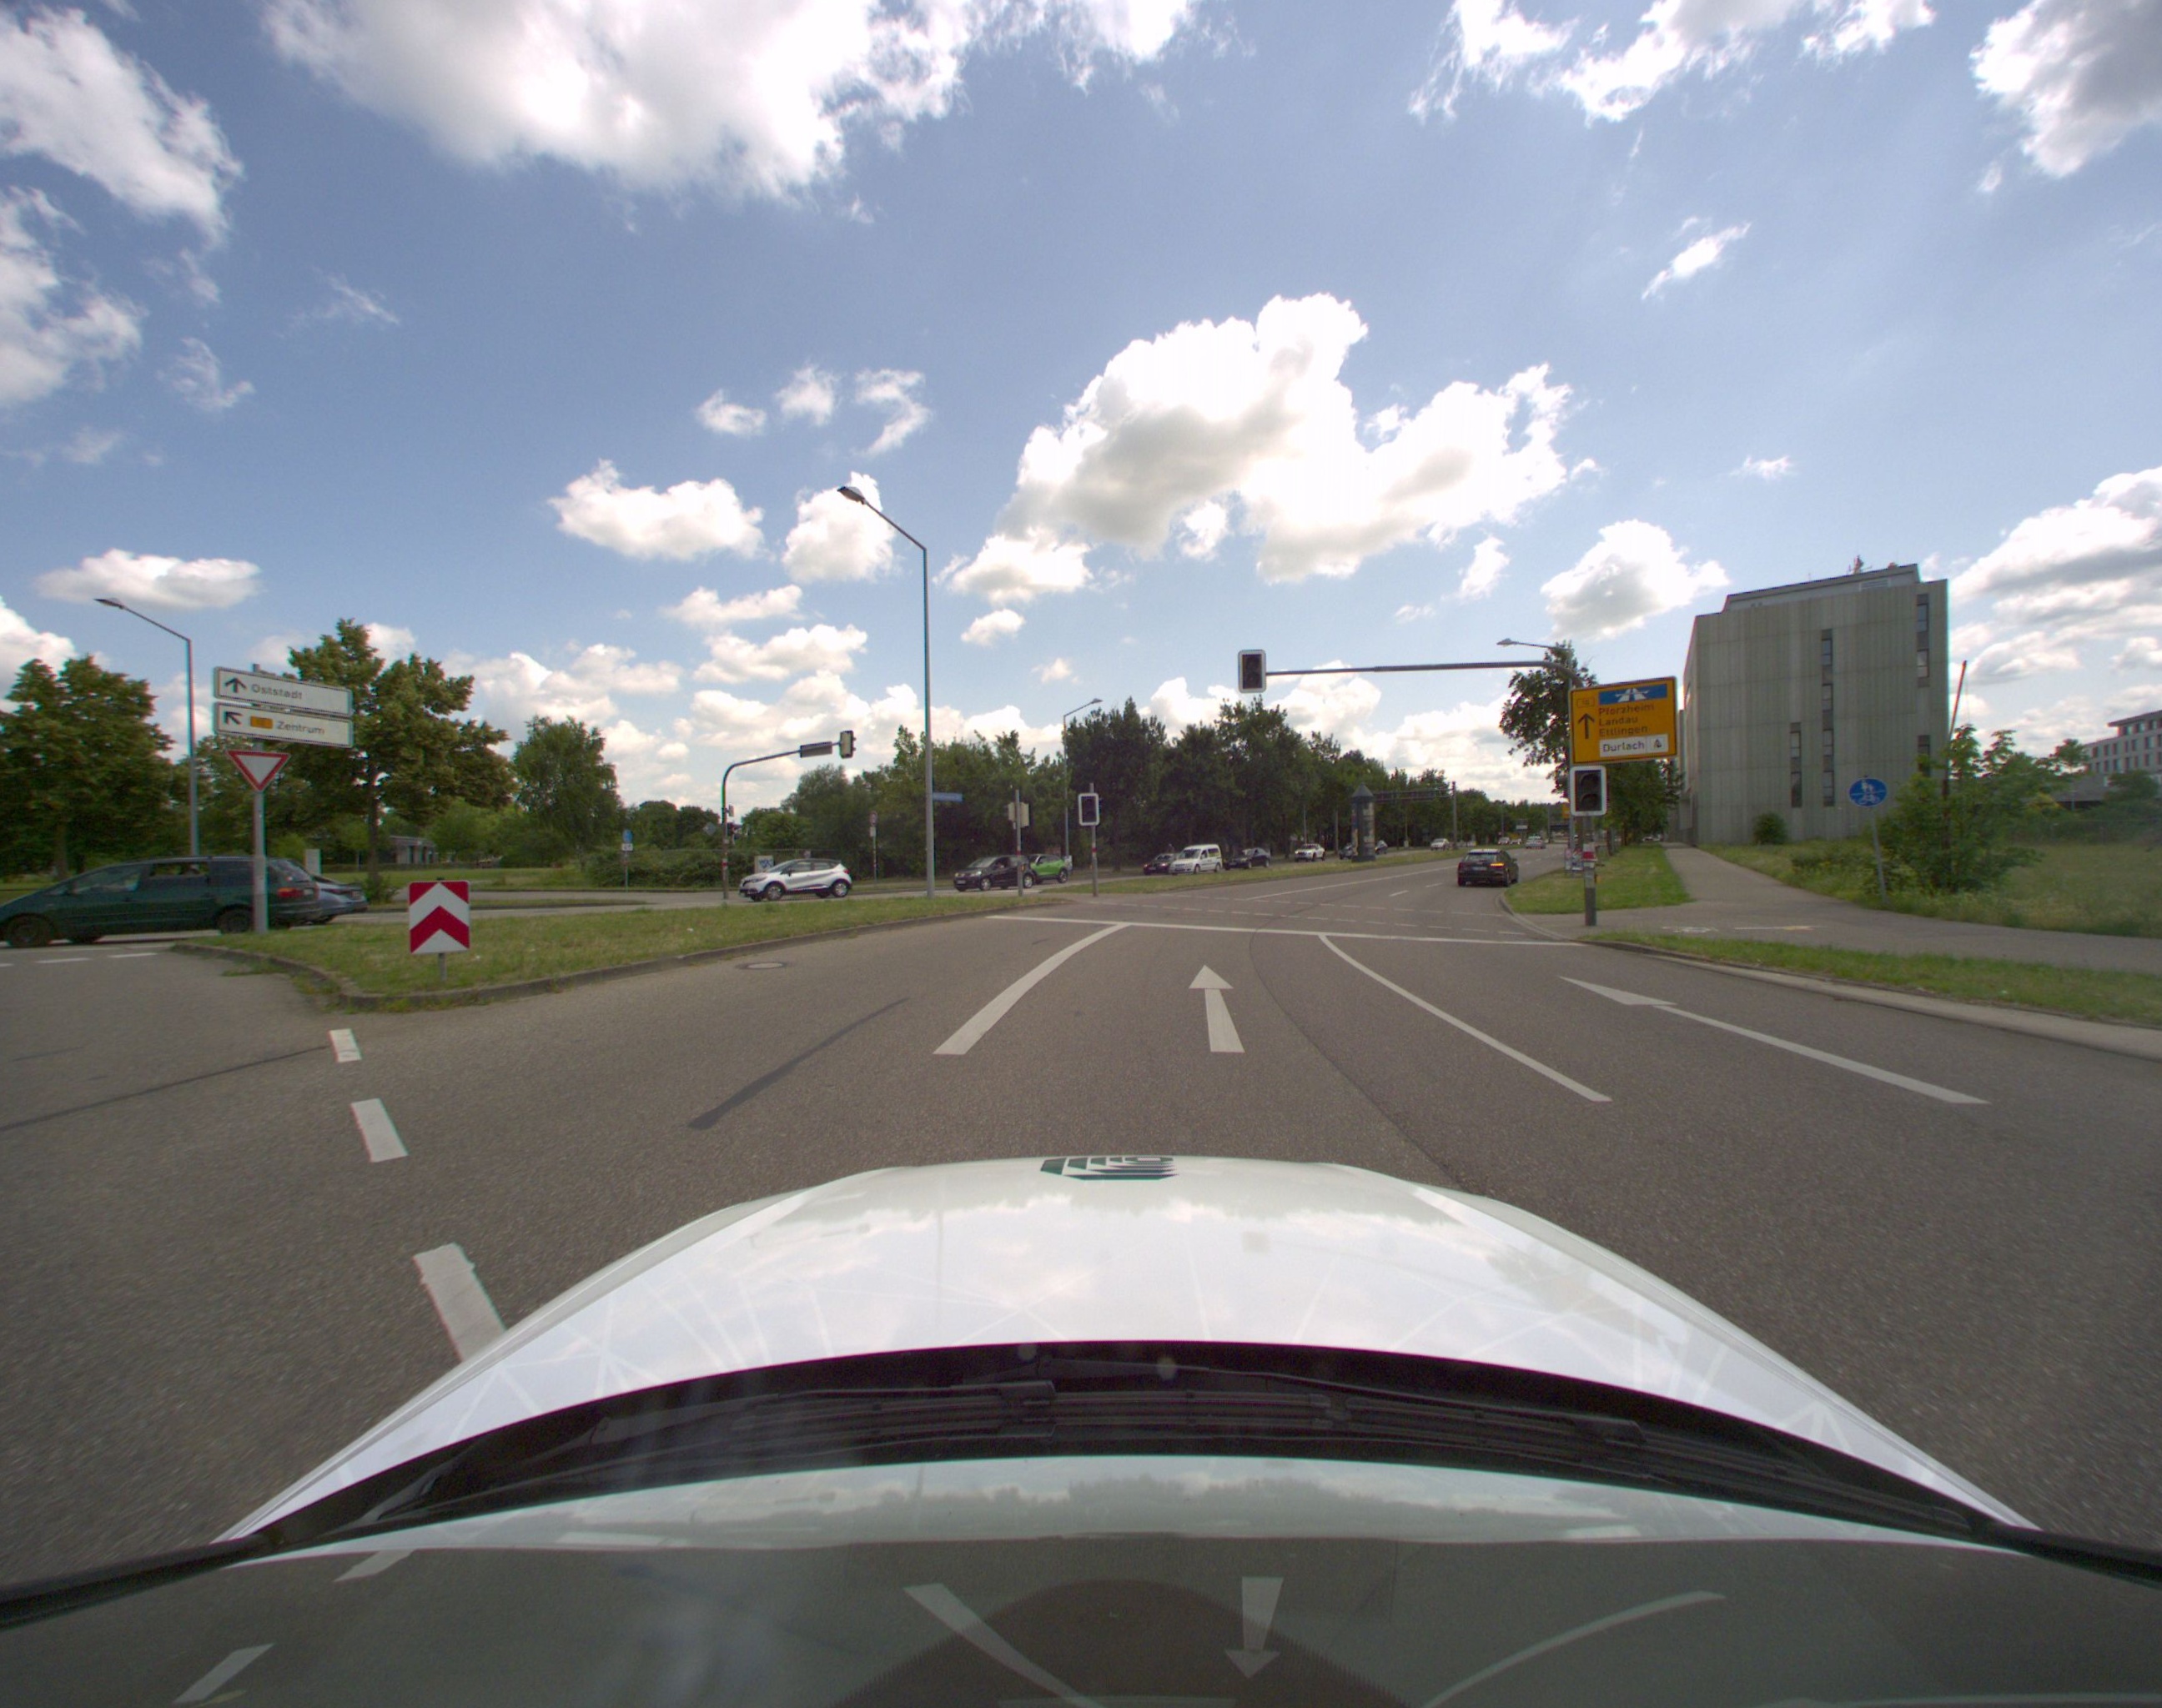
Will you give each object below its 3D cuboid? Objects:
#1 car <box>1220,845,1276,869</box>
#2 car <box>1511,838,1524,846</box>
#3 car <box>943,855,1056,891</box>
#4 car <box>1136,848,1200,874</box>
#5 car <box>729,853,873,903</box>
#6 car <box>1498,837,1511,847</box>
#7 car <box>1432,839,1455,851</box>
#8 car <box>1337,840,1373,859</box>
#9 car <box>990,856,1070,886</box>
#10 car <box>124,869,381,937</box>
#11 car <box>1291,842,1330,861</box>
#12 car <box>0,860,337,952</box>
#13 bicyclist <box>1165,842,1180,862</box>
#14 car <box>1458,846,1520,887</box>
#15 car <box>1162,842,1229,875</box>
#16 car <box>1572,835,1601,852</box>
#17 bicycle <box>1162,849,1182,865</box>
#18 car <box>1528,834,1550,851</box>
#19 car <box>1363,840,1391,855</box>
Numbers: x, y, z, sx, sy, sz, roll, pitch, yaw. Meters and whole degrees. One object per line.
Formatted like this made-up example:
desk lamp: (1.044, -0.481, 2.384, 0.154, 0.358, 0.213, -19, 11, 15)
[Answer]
car: (11.344, 0.162, 55.089, 1.820, 1.480, 4.784, -3, -1, 36)
car: (90.213, -2.526, 168.271, 1.724, 1.545, 4.603, -3, 0, 36)
car: (-3.373, 0.781, 34.488, 1.820, 1.310, 4.818, -3, -1, 40)
car: (5.580, 0.436, 51.871, 1.820, 1.443, 4.447, -3, -1, 40)
car: (-10.653, 0.860, 31.233, 4.815, 1.686, 1.975, -2, 1, -44)
car: (78.670, -2.238, 151.250, 1.724, 1.569, 4.303, -3, 0, 34)
car: (45.669, -1.107, 102.630, 1.746, 1.440, 4.337, -2, 0, 36)
car: (25.152, -0.427, 74.652, 1.705, 1.591, 5.045, -2, 0, 35)
car: (-2.451, 0.818, 40.277, 1.600, 1.348, 4.197, -3, -1, 36)
car: (-20.875, 1.174, 20.814, 4.204, 1.423, 1.893, -1, 1, -30)
car: (20.535, -0.227, 72.743, 1.891, 1.540, 4.396, -2, 0, 35)
car: (-18.722, 0.974, 16.813, 4.606, 1.592, 1.896, -1, 0, -30)
bicyclist: (7.372, -0.188, 65.708, 0.822, 1.564, 0.889, 2, 2, 35)
car: (16.169, 0.450, 32.182, 1.667, 1.463, 4.026, 1, 1, 34)
car: (6.867, 0.219, 48.380, 1.820, 1.799, 4.818, -3, -1, 36)
car: (50.428, -1.028, 81.188, 1.974, 1.626, 4.337, 0, 1, 39)
bicycle: (7.349, 0.208, 65.686, 0.753, 1.219, 2.029, 2, 2, 35)
car: (53.869, -1.348, 95.802, 1.974, 2.013, 4.026, 1, 1, 33)
car: (33.105, -0.707, 90.989, 1.746, 1.577, 5.064, -2, 0, 35)
